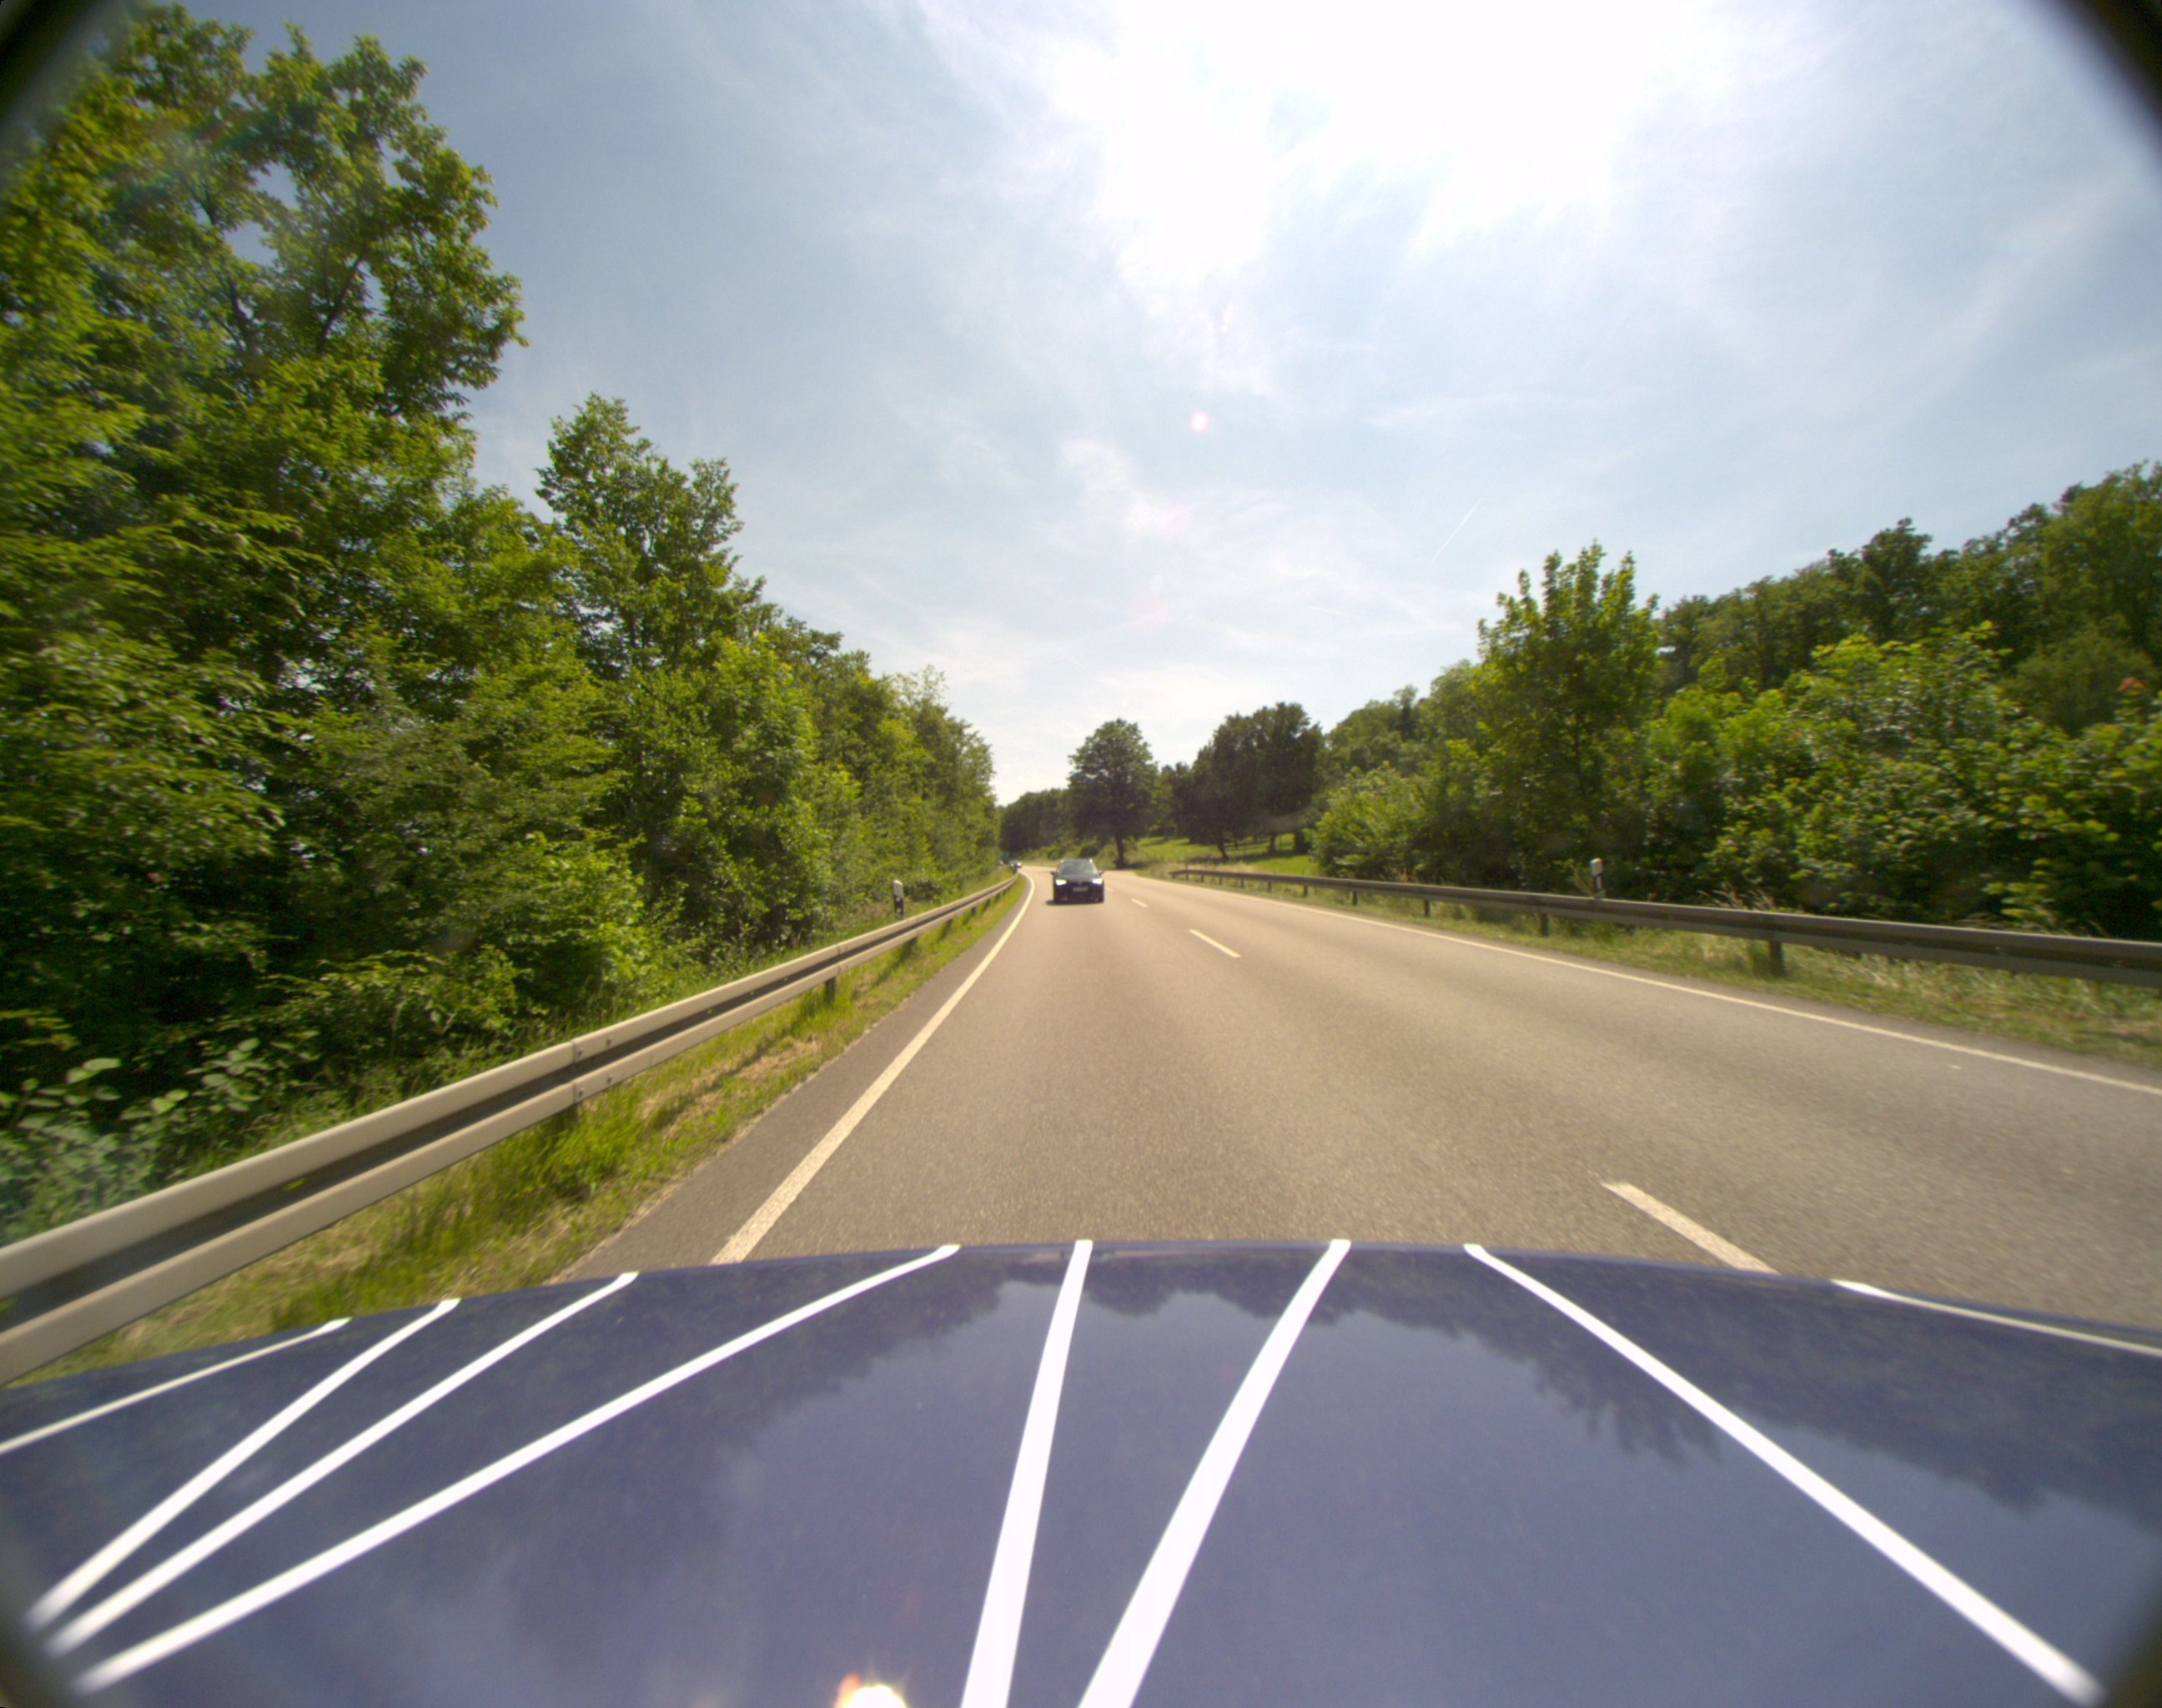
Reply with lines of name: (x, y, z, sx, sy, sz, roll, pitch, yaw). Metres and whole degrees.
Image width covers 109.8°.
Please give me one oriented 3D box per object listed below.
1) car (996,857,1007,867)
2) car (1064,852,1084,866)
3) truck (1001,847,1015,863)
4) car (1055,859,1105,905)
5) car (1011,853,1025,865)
car: (-17.628, 1.706, 169.277, 2.000, 2.002, 3.996, -3, 1, -11)
car: (-0.771, 0.540, 86.306, 1.869, 1.518, 3.888, -2, 0, -6)
truck: (-20.230, 0.315, 209.955, 2.569, 3.916, 16.146, -3, 0, -10)
car: (-0.065, 0.955, 27.364, 1.662, 1.531, 3.487, -1, -1, -1)
car: (-11.129, 0.861, 134.223, 2.000, 2.002, 3.997, -3, 1, -9)
